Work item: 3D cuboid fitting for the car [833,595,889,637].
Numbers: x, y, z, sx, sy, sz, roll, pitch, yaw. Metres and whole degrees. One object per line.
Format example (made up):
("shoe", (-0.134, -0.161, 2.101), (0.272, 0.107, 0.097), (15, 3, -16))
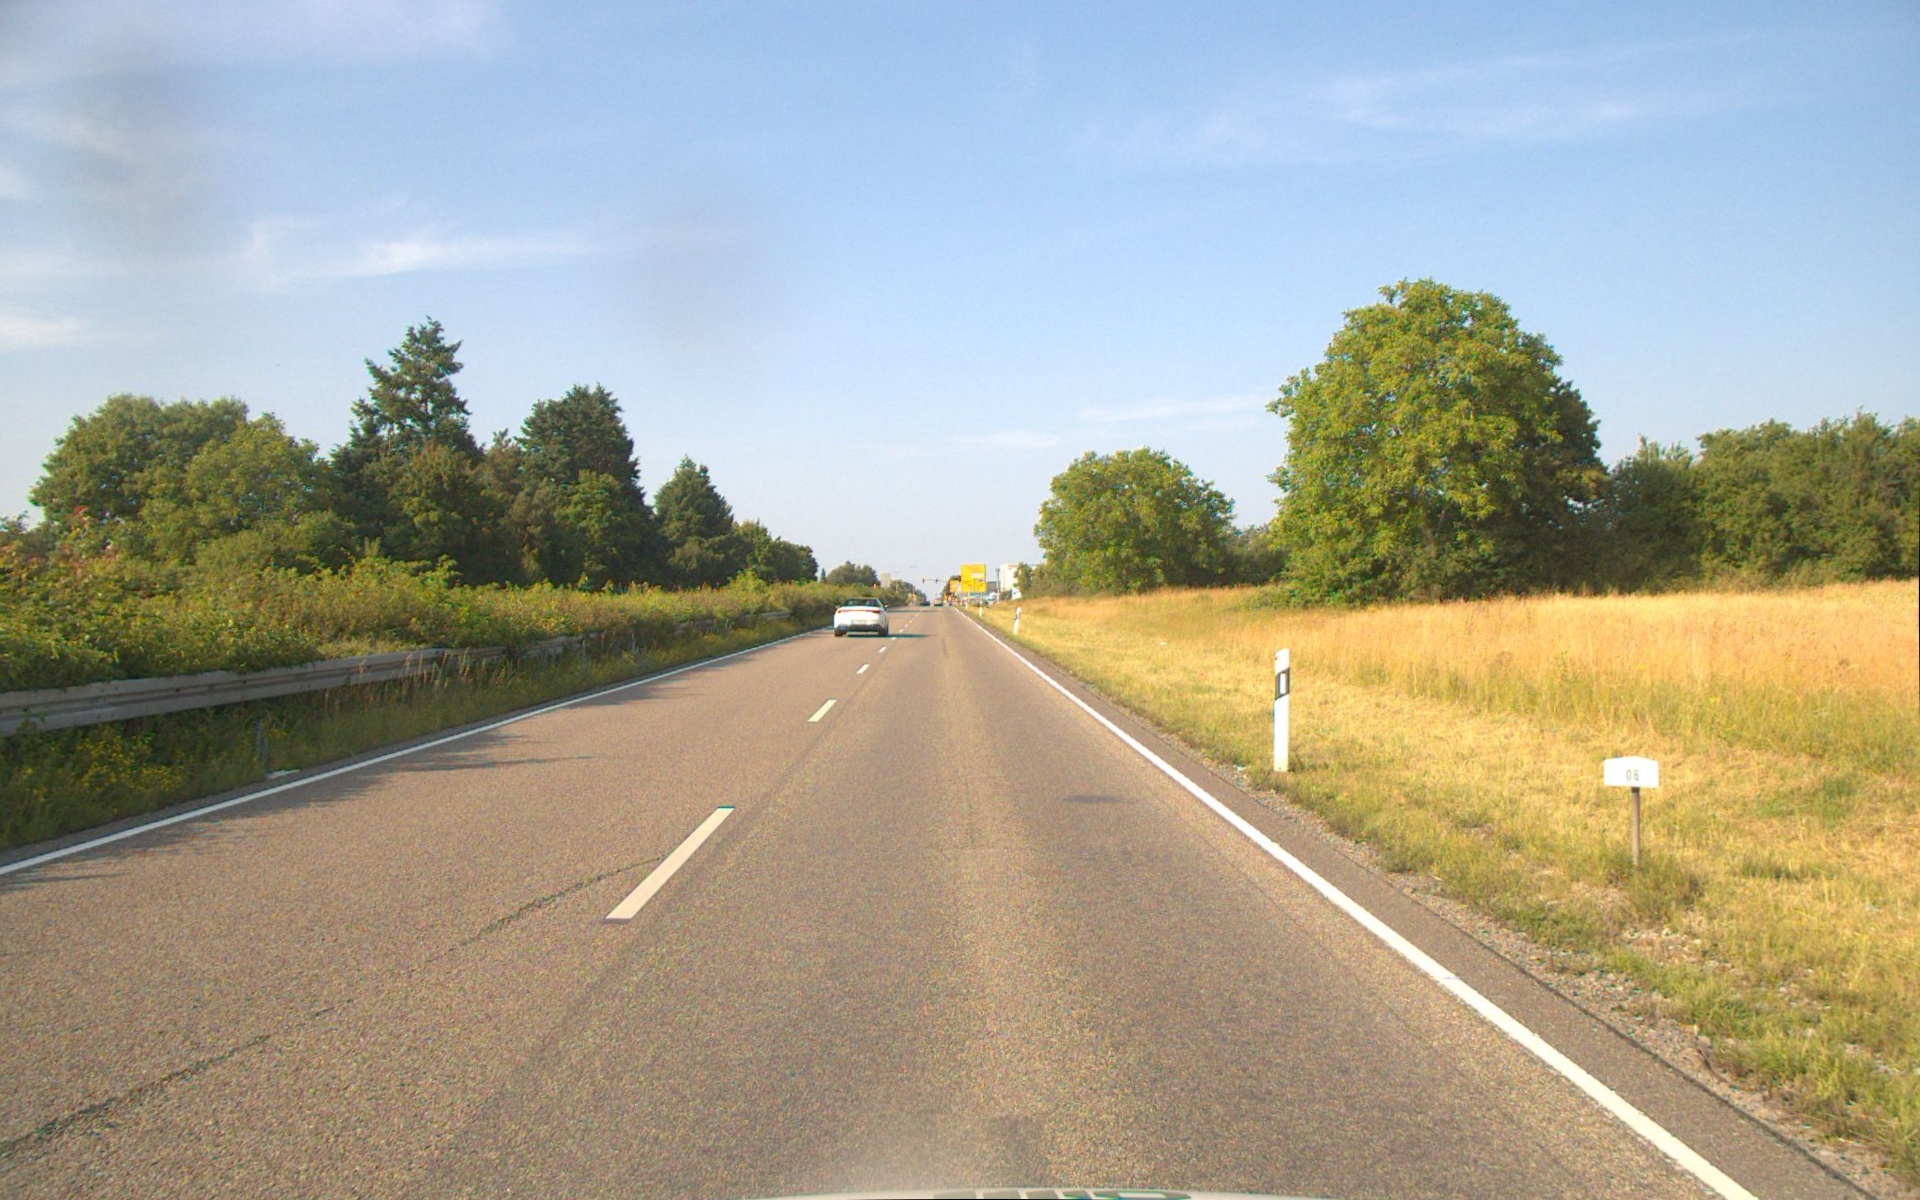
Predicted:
("car", (-3.527, 0.562, 59.703), (1.871, 1.447, 3.999), (0, 0, -2))
